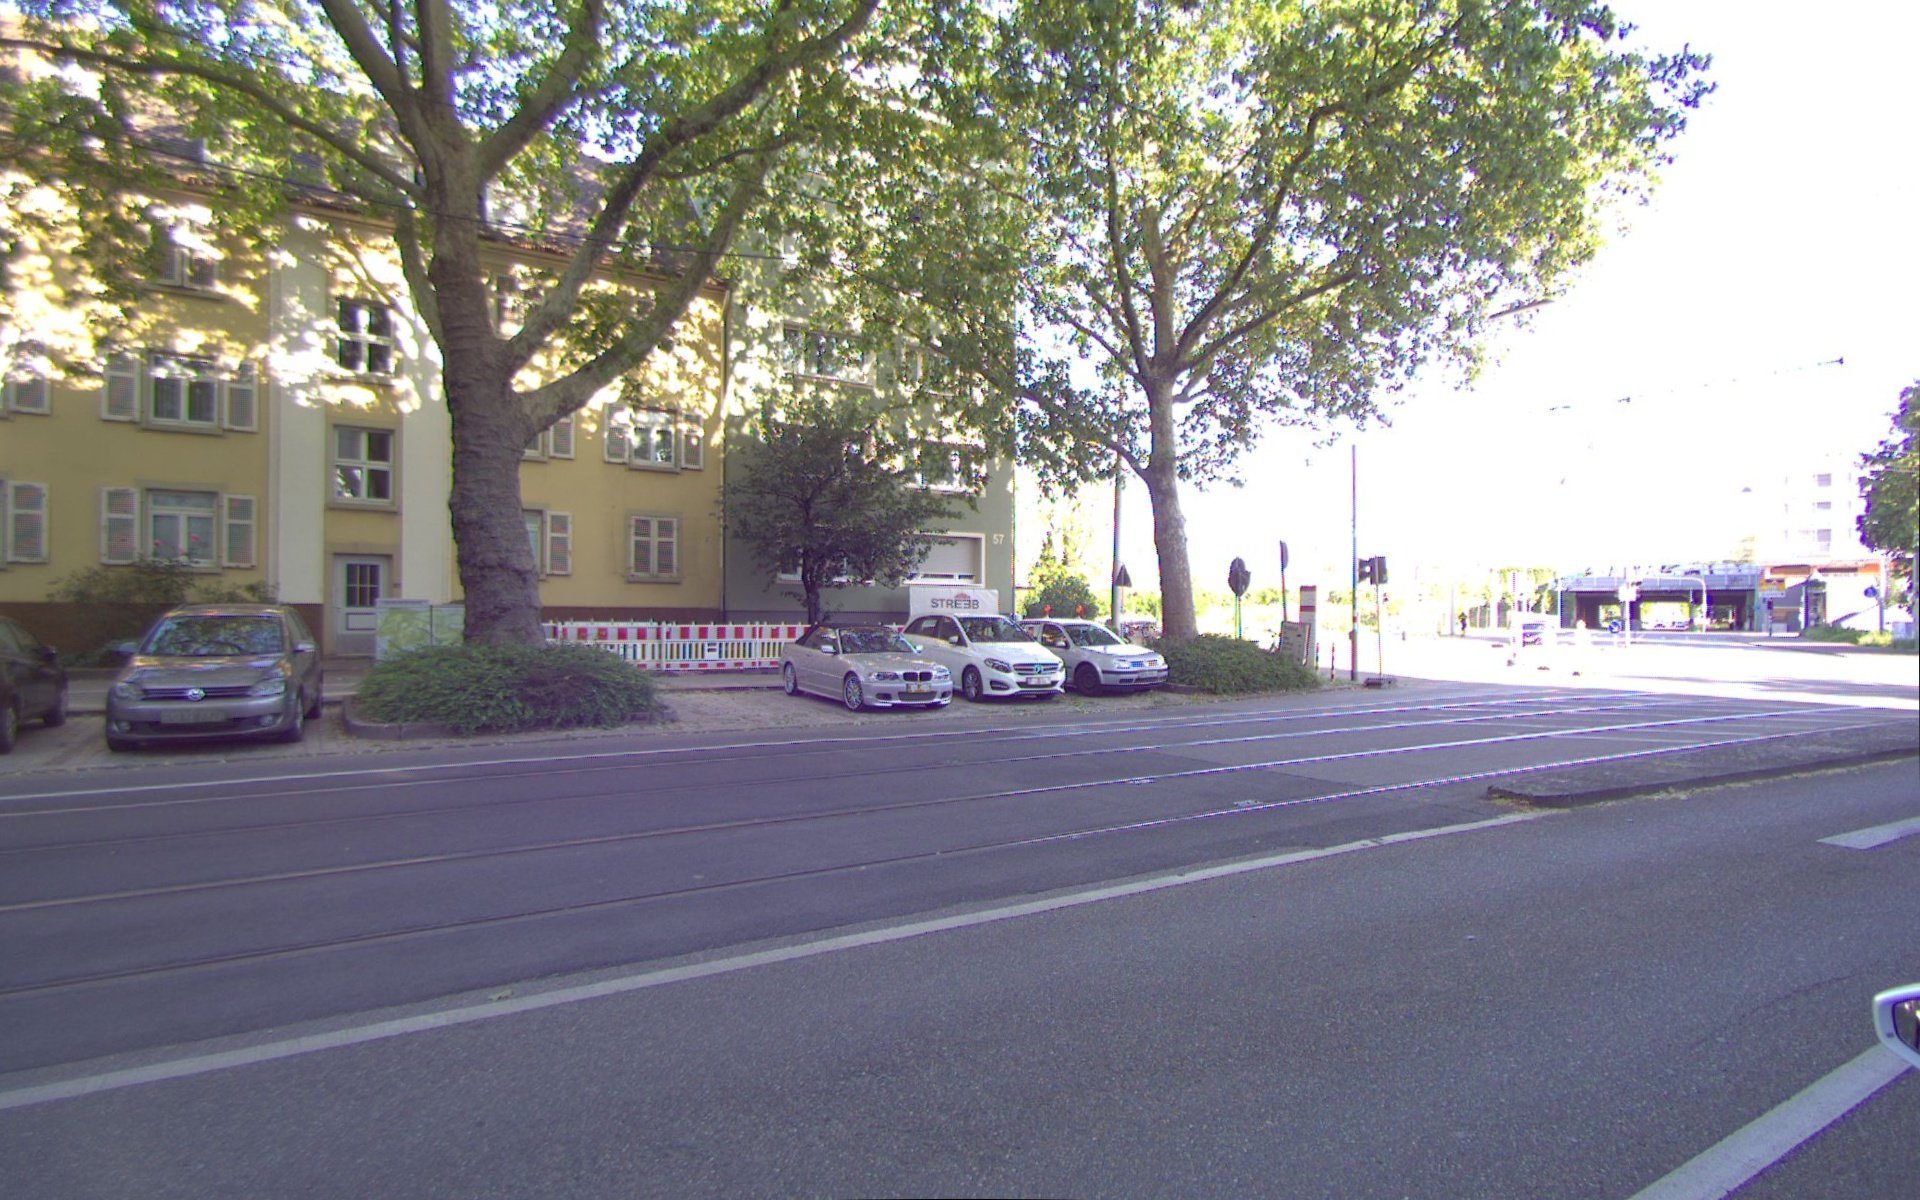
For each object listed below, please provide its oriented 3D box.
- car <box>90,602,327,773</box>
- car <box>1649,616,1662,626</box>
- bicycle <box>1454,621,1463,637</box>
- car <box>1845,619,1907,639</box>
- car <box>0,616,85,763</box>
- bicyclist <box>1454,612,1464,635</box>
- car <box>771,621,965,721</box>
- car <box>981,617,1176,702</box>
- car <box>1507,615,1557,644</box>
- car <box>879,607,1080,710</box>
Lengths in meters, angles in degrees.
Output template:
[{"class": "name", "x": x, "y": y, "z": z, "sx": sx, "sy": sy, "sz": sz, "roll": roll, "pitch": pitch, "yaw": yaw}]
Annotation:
[{"class": "car", "x": -9.033, "y": 0.902, "z": 12.429, "sx": 1.793, "sy": 1.627, "sz": 4.169, "roll": 1, "pitch": 1, "yaw": -29}, {"class": "car", "x": 139.254, "y": 4.222, "z": 201.179, "sx": 2.183, "sy": 1.847, "sz": 4.134, "roll": 0, "pitch": -1, "yaw": 34}, {"class": "bicycle", "x": 34.480, "y": 2.019, "z": 69.471, "sx": 0.572, "sy": 1.075, "sz": 2.039, "roll": 0, "pitch": -1, "yaw": 28}, {"class": "car", "x": 84.923, "y": 2.704, "z": 93.200, "sx": 4.125, "sy": 1.829, "sz": 1.729, "roll": -1, "pitch": -1, "yaw": 40}, {"class": "car", "x": -11.390, "y": 0.927, "z": 11.300, "sx": 1.723, "sy": 1.448, "sz": 3.545, "roll": 1, "pitch": 0, "yaw": -31}, {"class": "bicyclist", "x": 34.508, "y": 1.641, "z": 69.472, "sx": 0.625, "sy": 1.584, "sz": 0.832, "roll": 0, "pitch": -1, "yaw": 28}, {"class": "car", "x": -1.725, "y": 1.124, "z": 17.437, "sx": 1.708, "sy": 1.386, "sz": 4.219, "roll": 1, "pitch": 0, "yaw": -31}, {"class": "car", "x": 2.304, "y": 1.132, "z": 20.826, "sx": 1.656, "sy": 1.448, "sz": 4.490, "roll": 1, "pitch": 0, "yaw": -30}, {"class": "car", "x": 32.438, "y": 1.656, "z": 56.941, "sx": 1.803, "sy": 1.539, "sz": 3.876, "roll": 2, "pitch": 1, "yaw": 40}, {"class": "car", "x": 0.225, "y": 1.021, "z": 19.481, "sx": 1.777, "sy": 1.640, "sz": 4.587, "roll": 1, "pitch": 1, "yaw": -30}]
